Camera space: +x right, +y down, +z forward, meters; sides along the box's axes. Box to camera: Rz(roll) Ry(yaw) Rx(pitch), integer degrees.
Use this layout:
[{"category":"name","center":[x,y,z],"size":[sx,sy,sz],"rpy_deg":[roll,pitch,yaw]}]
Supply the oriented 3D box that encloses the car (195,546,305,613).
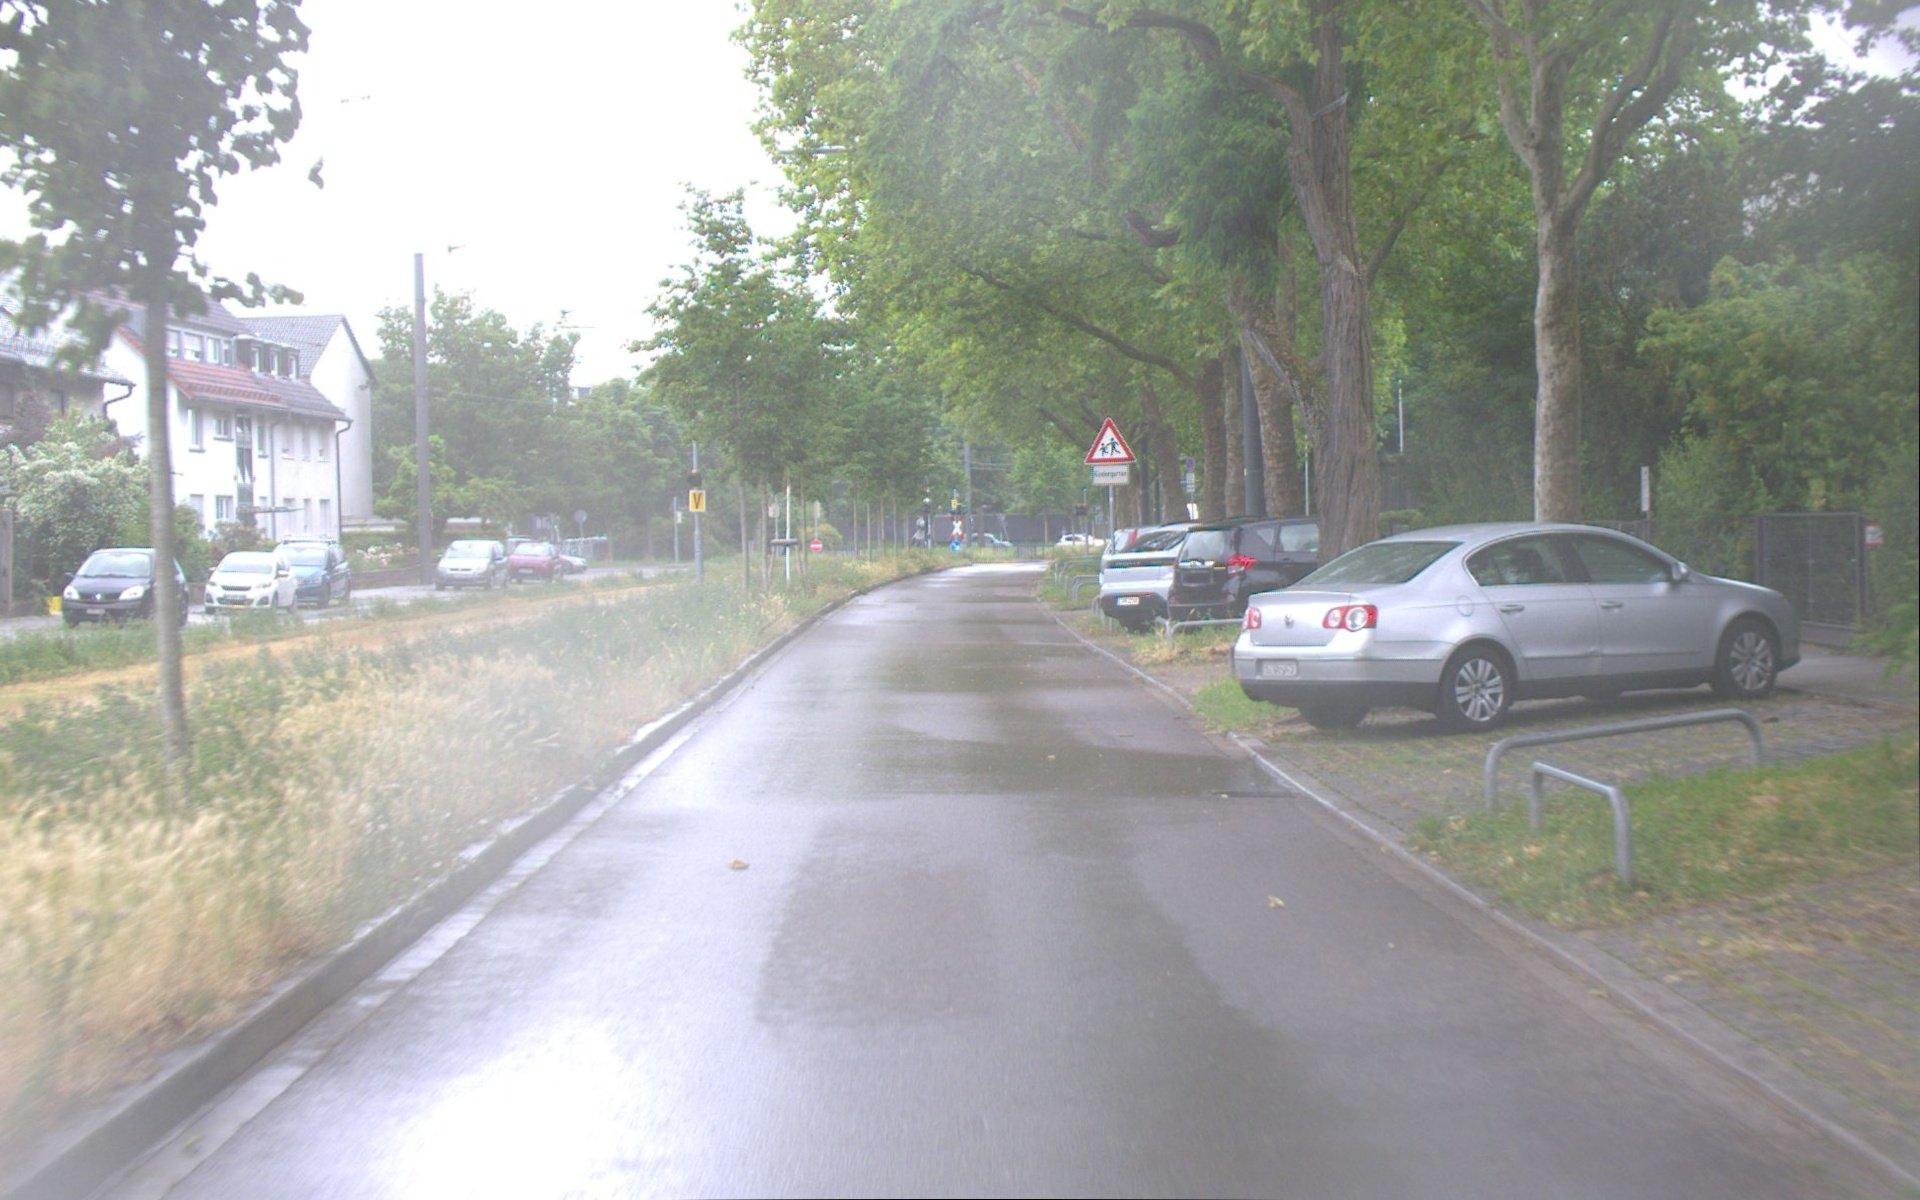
[{"category":"car","center":[-16.745,-0.496,81.171],"size":[1.796,1.483,3.597],"rpy_deg":[1,2,1]}]

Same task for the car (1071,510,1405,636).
[{"category":"car","center":[4.159,-0.424,51.013],"size":[4.761,1.662,1.994],"rpy_deg":[-3,2,-37]}]

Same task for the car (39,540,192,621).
[{"category":"car","center":[-16.959,-0.415,69.245],"size":[1.993,1.511,4.206],"rpy_deg":[1,2,1]}]

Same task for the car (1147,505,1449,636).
[{"category":"car","center":[4.453,-0.406,45.180],"size":[3.702,1.561,1.619],"rpy_deg":[-3,2,-33]}]

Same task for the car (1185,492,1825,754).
[{"category":"car","center":[4.118,0.113,25.704],"size":[4.546,1.539,1.887],"rpy_deg":[-5,3,-32]}]

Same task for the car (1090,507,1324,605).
[{"category":"car","center":[4.451,-0.808,62.092],"size":[3.854,1.561,1.620],"rpy_deg":[-3,2,-14]}]

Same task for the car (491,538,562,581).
[{"category":"car","center":[-15.816,-1.504,125.527],"size":[1.993,1.483,4.206],"rpy_deg":[1,2,1]}]

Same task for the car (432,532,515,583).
[{"category":"car","center":[-15.799,-1.391,111.858],"size":[1.993,1.575,4.517],"rpy_deg":[1,2,1]}]

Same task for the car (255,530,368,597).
[{"category":"car","center":[-16.595,-0.948,88.139],"size":[1.993,1.608,4.413],"rpy_deg":[1,2,1]}]
